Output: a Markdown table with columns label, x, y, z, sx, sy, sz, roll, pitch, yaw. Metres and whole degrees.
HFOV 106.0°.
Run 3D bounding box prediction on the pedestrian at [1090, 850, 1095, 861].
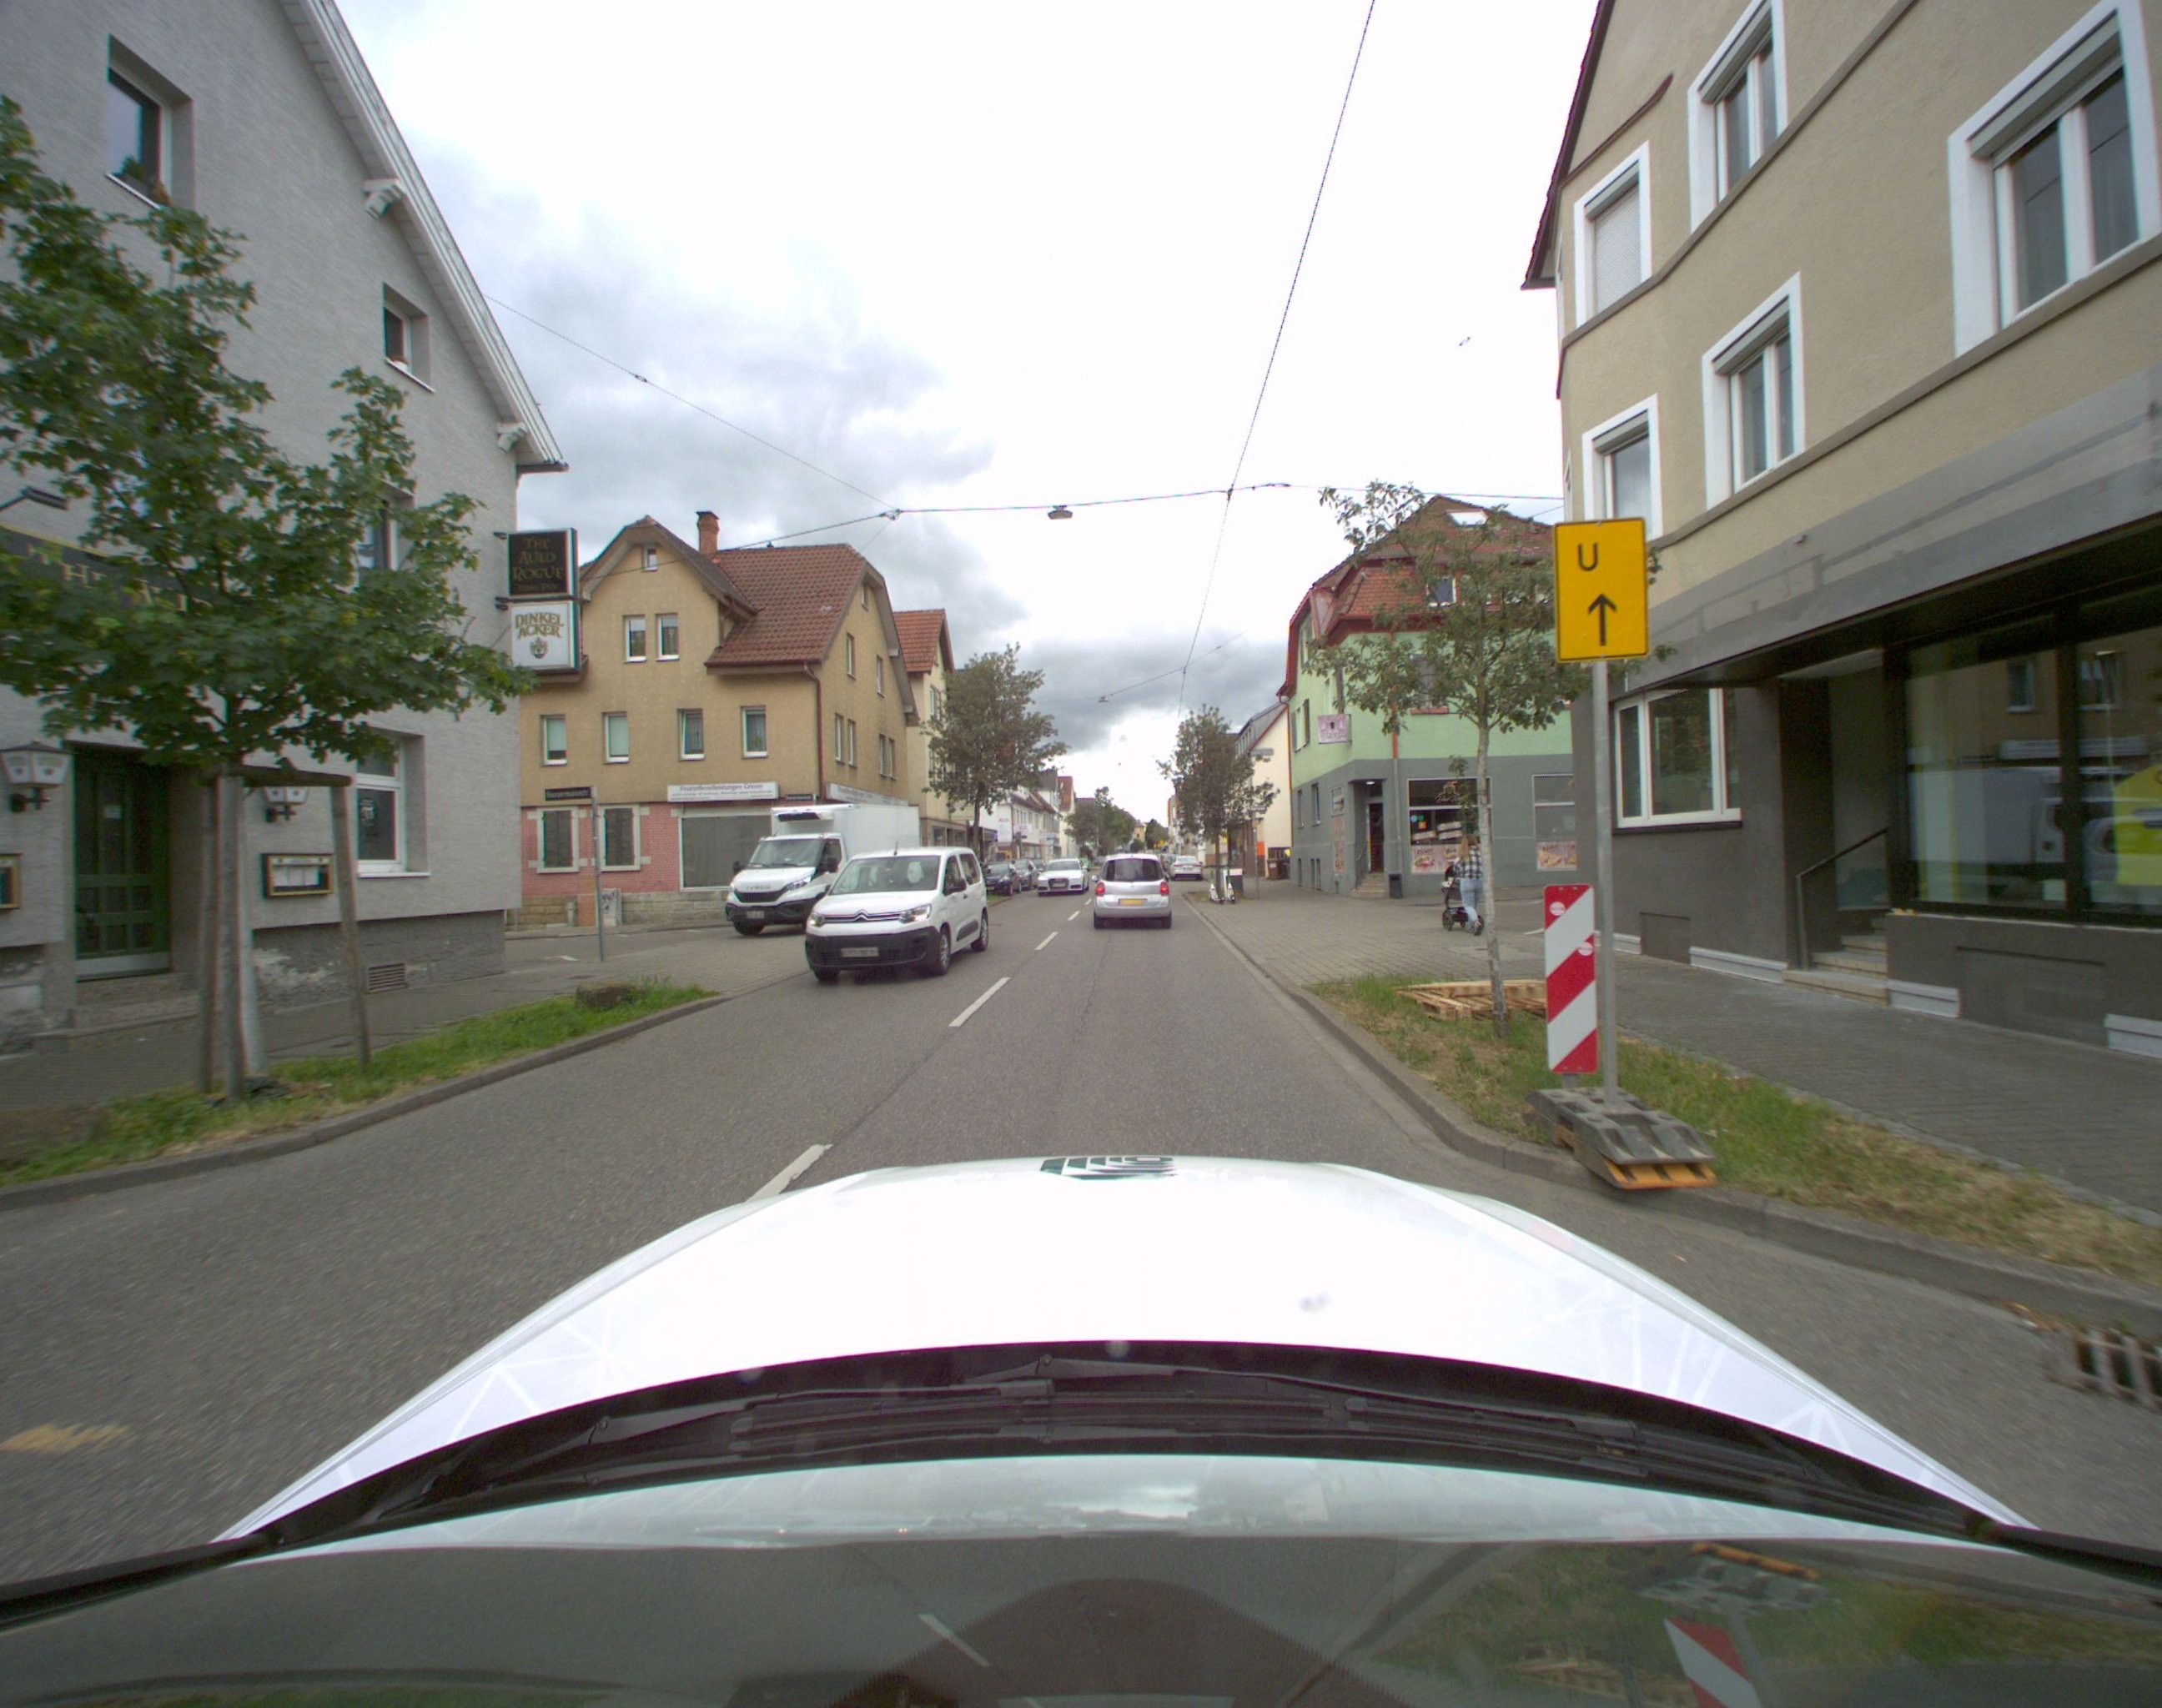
| label | x | y | z | sx | sy | sz | roll | pitch | yaw |
| --- | --- | --- | --- | --- | --- | --- | --- | --- | --- |
| pedestrian | 1.766 | 0.220 | 127.126 | 0.759 | 1.791 | 0.891 | -1 | 0 | 4 |

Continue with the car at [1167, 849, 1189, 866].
| label | x | y | z | sx | sy | sz | roll | pitch | yaw |
| --- | --- | --- | --- | --- | --- | --- | --- | --- | --- |
| car | 8.587 | 0.313 | 72.484 | 1.822 | 1.497 | 3.999 | -1 | 0 | 5 |

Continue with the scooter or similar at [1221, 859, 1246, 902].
| label | x | y | z | sx | sy | sz | roll | pitch | yaw |
| --- | --- | --- | --- | --- | --- | --- | --- | --- | --- |
| scooter or similar | 4.640 | 0.780 | 24.836 | 0.500 | 1.235 | 1.944 | -1 | 0 | 4 |

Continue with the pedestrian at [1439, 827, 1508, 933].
| label | x | y | z | sx | sy | sz | roll | pitch | yaw |
| --- | --- | --- | --- | --- | --- | --- | --- | --- | --- |
| pedestrian | 6.651 | 0.428 | 13.830 | 0.747 | 1.720 | 0.901 | -1 | 0 | 4 |

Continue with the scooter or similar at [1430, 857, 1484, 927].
| label | x | y | z | sx | sy | sz | roll | pitch | yaw |
| --- | --- | --- | --- | --- | --- | --- | --- | --- | --- |
| scooter or similar | 6.805 | 0.670 | 14.779 | 0.587 | 1.233 | 0.892 | -1 | 0 | 3 |

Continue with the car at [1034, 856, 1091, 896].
| label | x | y | z | sx | sy | sz | roll | pitch | yaw |
| --- | --- | --- | --- | --- | --- | --- | --- | --- | --- |
| car | -0.686 | 0.862 | 33.849 | 1.834 | 1.433 | 4.549 | -3 | 0 | 4 |

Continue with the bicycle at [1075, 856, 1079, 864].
| label | x | y | z | sx | sy | sz | roll | pitch | yaw |
| --- | --- | --- | --- | --- | --- | --- | --- | --- | --- |
| bicycle | -0.509 | 0.853 | 114.597 | 0.512 | 1.153 | 1.667 | -1 | 0 | 2 |

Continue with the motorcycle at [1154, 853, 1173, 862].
| label | x | y | z | sx | sy | sz | roll | pitch | yaw |
| --- | --- | --- | --- | --- | --- | --- | --- | --- | --- |
| motorcycle | 11.829 | 0.544 | 116.533 | 2.742 | 1.183 | 0.694 | -1 | 0 | -26 |

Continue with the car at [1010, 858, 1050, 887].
| label | x | y | z | sx | sy | sz | roll | pitch | yaw |
| --- | --- | --- | --- | --- | --- | --- | --- | --- | --- |
| car | -2.827 | 1.011 | 45.841 | 1.674 | 1.493 | 3.596 | -3 | 0 | 5 |

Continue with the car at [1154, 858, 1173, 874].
| label | x | y | z | sx | sy | sz | roll | pitch | yaw |
| --- | --- | --- | --- | --- | --- | --- | --- | --- | --- |
| car | 7.788 | 1.096 | 77.345 | 1.747 | 1.445 | 4.461 | -1 | 0 | 5 |

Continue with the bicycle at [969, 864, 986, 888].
| label | x | y | z | sx | sy | sz | roll | pitch | yaw |
| --- | --- | --- | --- | --- | --- | --- | --- | --- | --- |
| bicycle | -5.623 | 1.191 | 44.319 | 0.500 | 1.235 | 1.944 | -1 | 0 | 4 |

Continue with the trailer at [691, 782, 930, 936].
| label | x | y | z | sx | sy | sz | roll | pitch | yaw |
| --- | --- | --- | --- | --- | --- | --- | --- | --- | --- |
| trailer | -6.392 | 0.119 | 20.680 | 2.487 | 3.219 | 7.157 | -1 | 0 | 11 |

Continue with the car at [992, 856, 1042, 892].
| label | x | y | z | sx | sy | sz | roll | pitch | yaw |
| --- | --- | --- | --- | --- | --- | --- | --- | --- | --- |
| car | -3.126 | 0.952 | 40.324 | 1.702 | 1.566 | 4.119 | -3 | 0 | 5 |

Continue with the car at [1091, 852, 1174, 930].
| label | x | y | z | sx | sy | sz | roll | pitch | yaw |
| --- | --- | --- | --- | --- | --- | --- | --- | --- | --- |
| car | 1.217 | 0.757 | 18.608 | 1.674 | 1.566 | 3.999 | -1 | 0 | 5 |

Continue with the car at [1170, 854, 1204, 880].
| label | x | y | z | sx | sy | sz | roll | pitch | yaw |
| --- | --- | --- | --- | --- | --- | --- | --- | --- | --- |
| car | 6.177 | 0.748 | 47.823 | 1.822 | 1.445 | 4.337 | -1 | 0 | 5 |

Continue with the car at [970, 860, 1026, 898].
| label | x | y | z | sx | sy | sz | roll | pitch | yaw |
| --- | --- | --- | --- | --- | --- | --- | --- | --- | --- |
| car | -3.487 | 1.019 | 34.940 | 1.675 | 1.424 | 3.935 | -3 | 0 | 4 |

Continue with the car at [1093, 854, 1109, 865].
| label | x | y | z | sx | sy | sz | roll | pitch | yaw |
| --- | --- | --- | --- | --- | --- | --- | --- | --- | --- |
| car | 2.950 | 0.759 | 118.559 | 1.939 | 1.467 | 4.522 | -4 | 0 | 5 |

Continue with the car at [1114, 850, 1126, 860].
| label | x | y | z | sx | sy | sz | roll | pitch | yaw |
| --- | --- | --- | --- | --- | --- | --- | --- | --- | --- |
| car | 7.053 | 0.181 | 146.065 | 1.892 | 1.737 | 4.372 | -3 | 0 | 5 |

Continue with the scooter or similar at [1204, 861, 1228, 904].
| label | x | y | z | sx | sy | sz | roll | pitch | yaw |
| --- | --- | --- | --- | --- | --- | --- | --- | --- | --- |
| scooter or similar | 4.110 | 0.850 | 24.860 | 0.500 | 1.235 | 1.944 | -1 | 0 | 4 |

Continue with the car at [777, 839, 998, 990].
| label | x | y | z | sx | sy | sz | roll | pitch | yaw |
| --- | --- | --- | --- | --- | --- | --- | --- | --- | --- |
| car | -2.650 | 0.760 | 12.342 | 1.985 | 1.796 | 4.282 | -3 | 0 | 4 |
